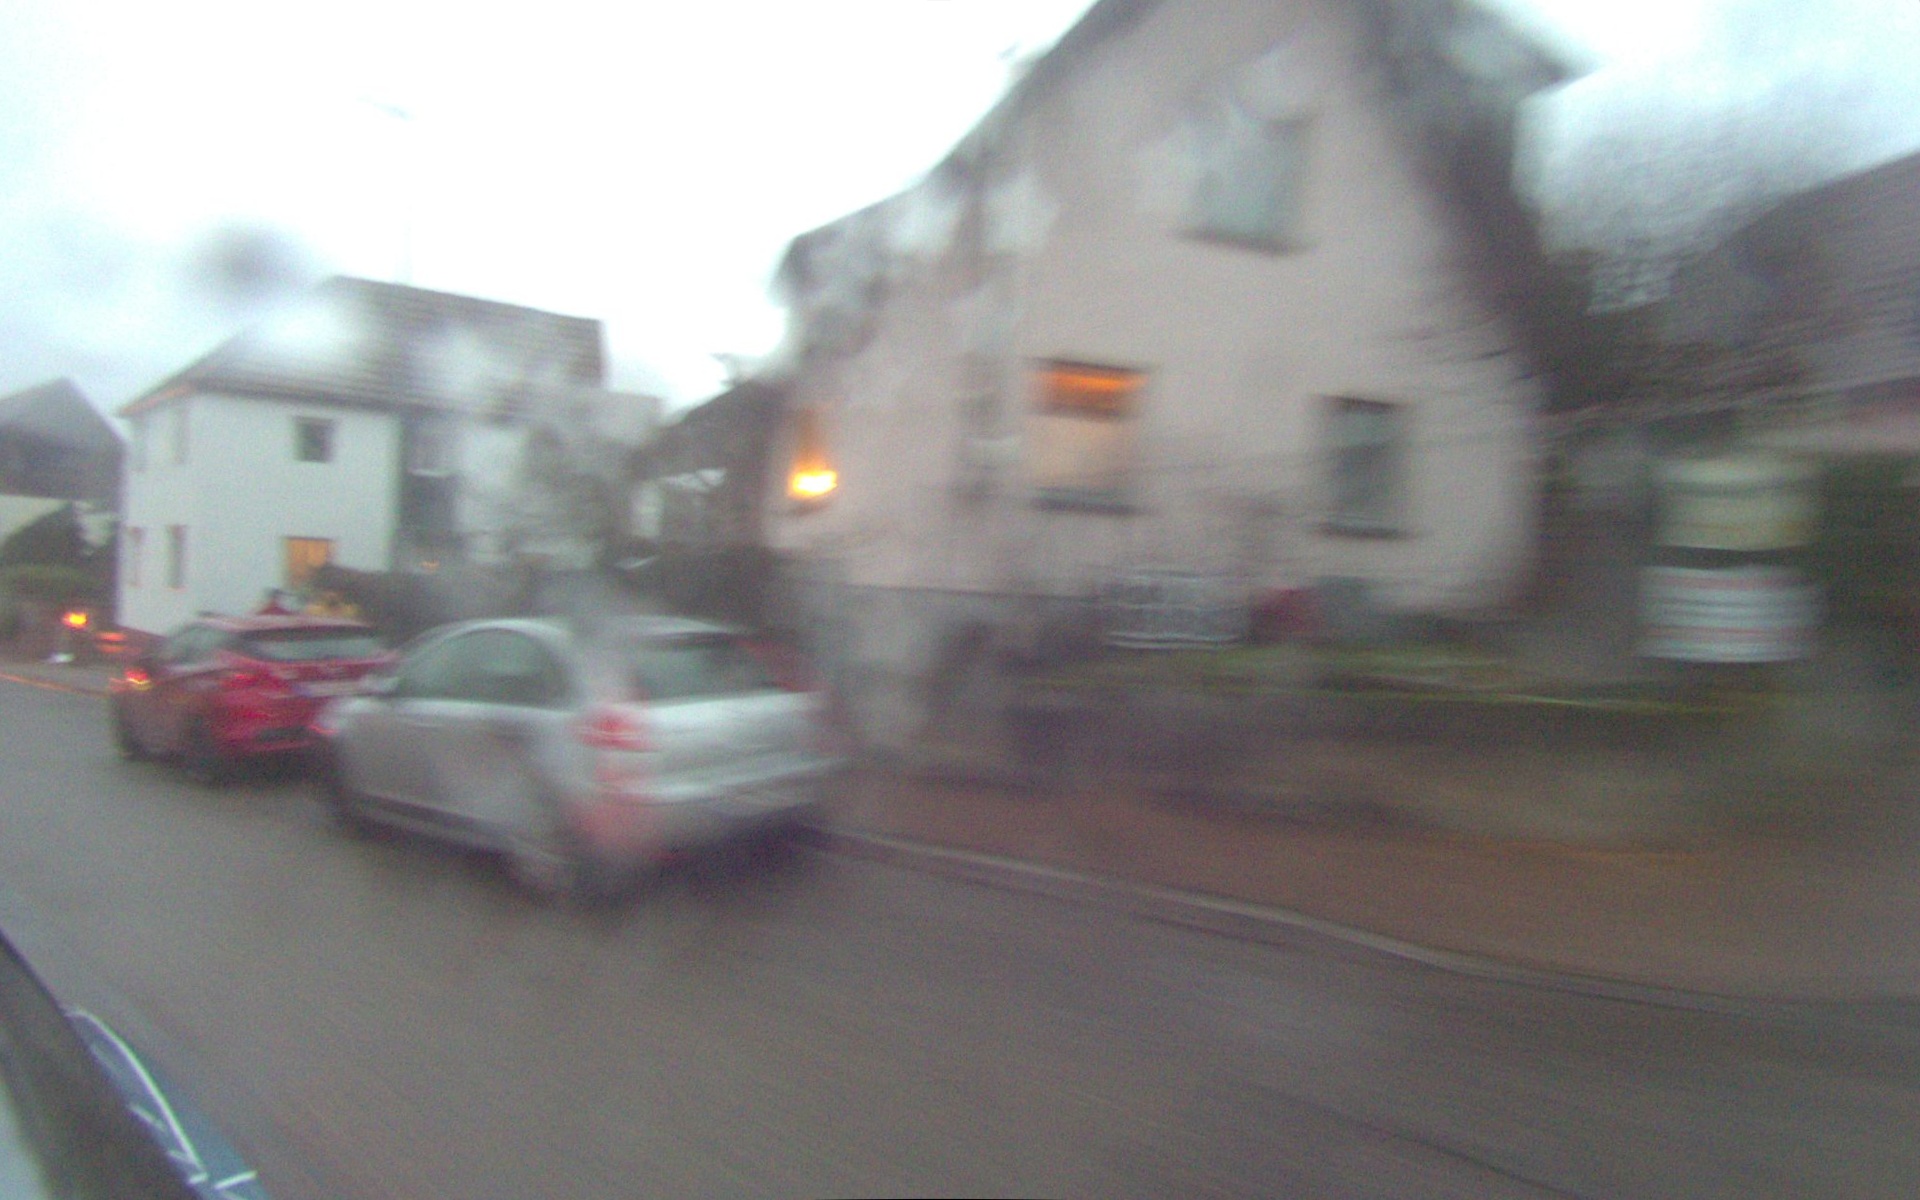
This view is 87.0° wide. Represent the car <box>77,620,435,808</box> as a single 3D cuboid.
[{"bbox_3d":[-7.038,0.943,9.982,4.062,1.451,1.806,-1,-1,38],"label":"car"}]

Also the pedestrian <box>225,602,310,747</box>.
[{"bbox_3d":[-8.946,0.923,13.075,0.811,1.792,0.699,0,0,38],"label":"pedestrian"}]

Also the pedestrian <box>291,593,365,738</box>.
[{"bbox_3d":[-8.497,0.847,13.606,0.811,1.883,0.592,0,0,38],"label":"pedestrian"}]

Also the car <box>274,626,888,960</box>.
[{"bbox_3d":[-2.567,0.888,6.367,4.140,1.399,1.732,-1,-1,38],"label":"car"}]
